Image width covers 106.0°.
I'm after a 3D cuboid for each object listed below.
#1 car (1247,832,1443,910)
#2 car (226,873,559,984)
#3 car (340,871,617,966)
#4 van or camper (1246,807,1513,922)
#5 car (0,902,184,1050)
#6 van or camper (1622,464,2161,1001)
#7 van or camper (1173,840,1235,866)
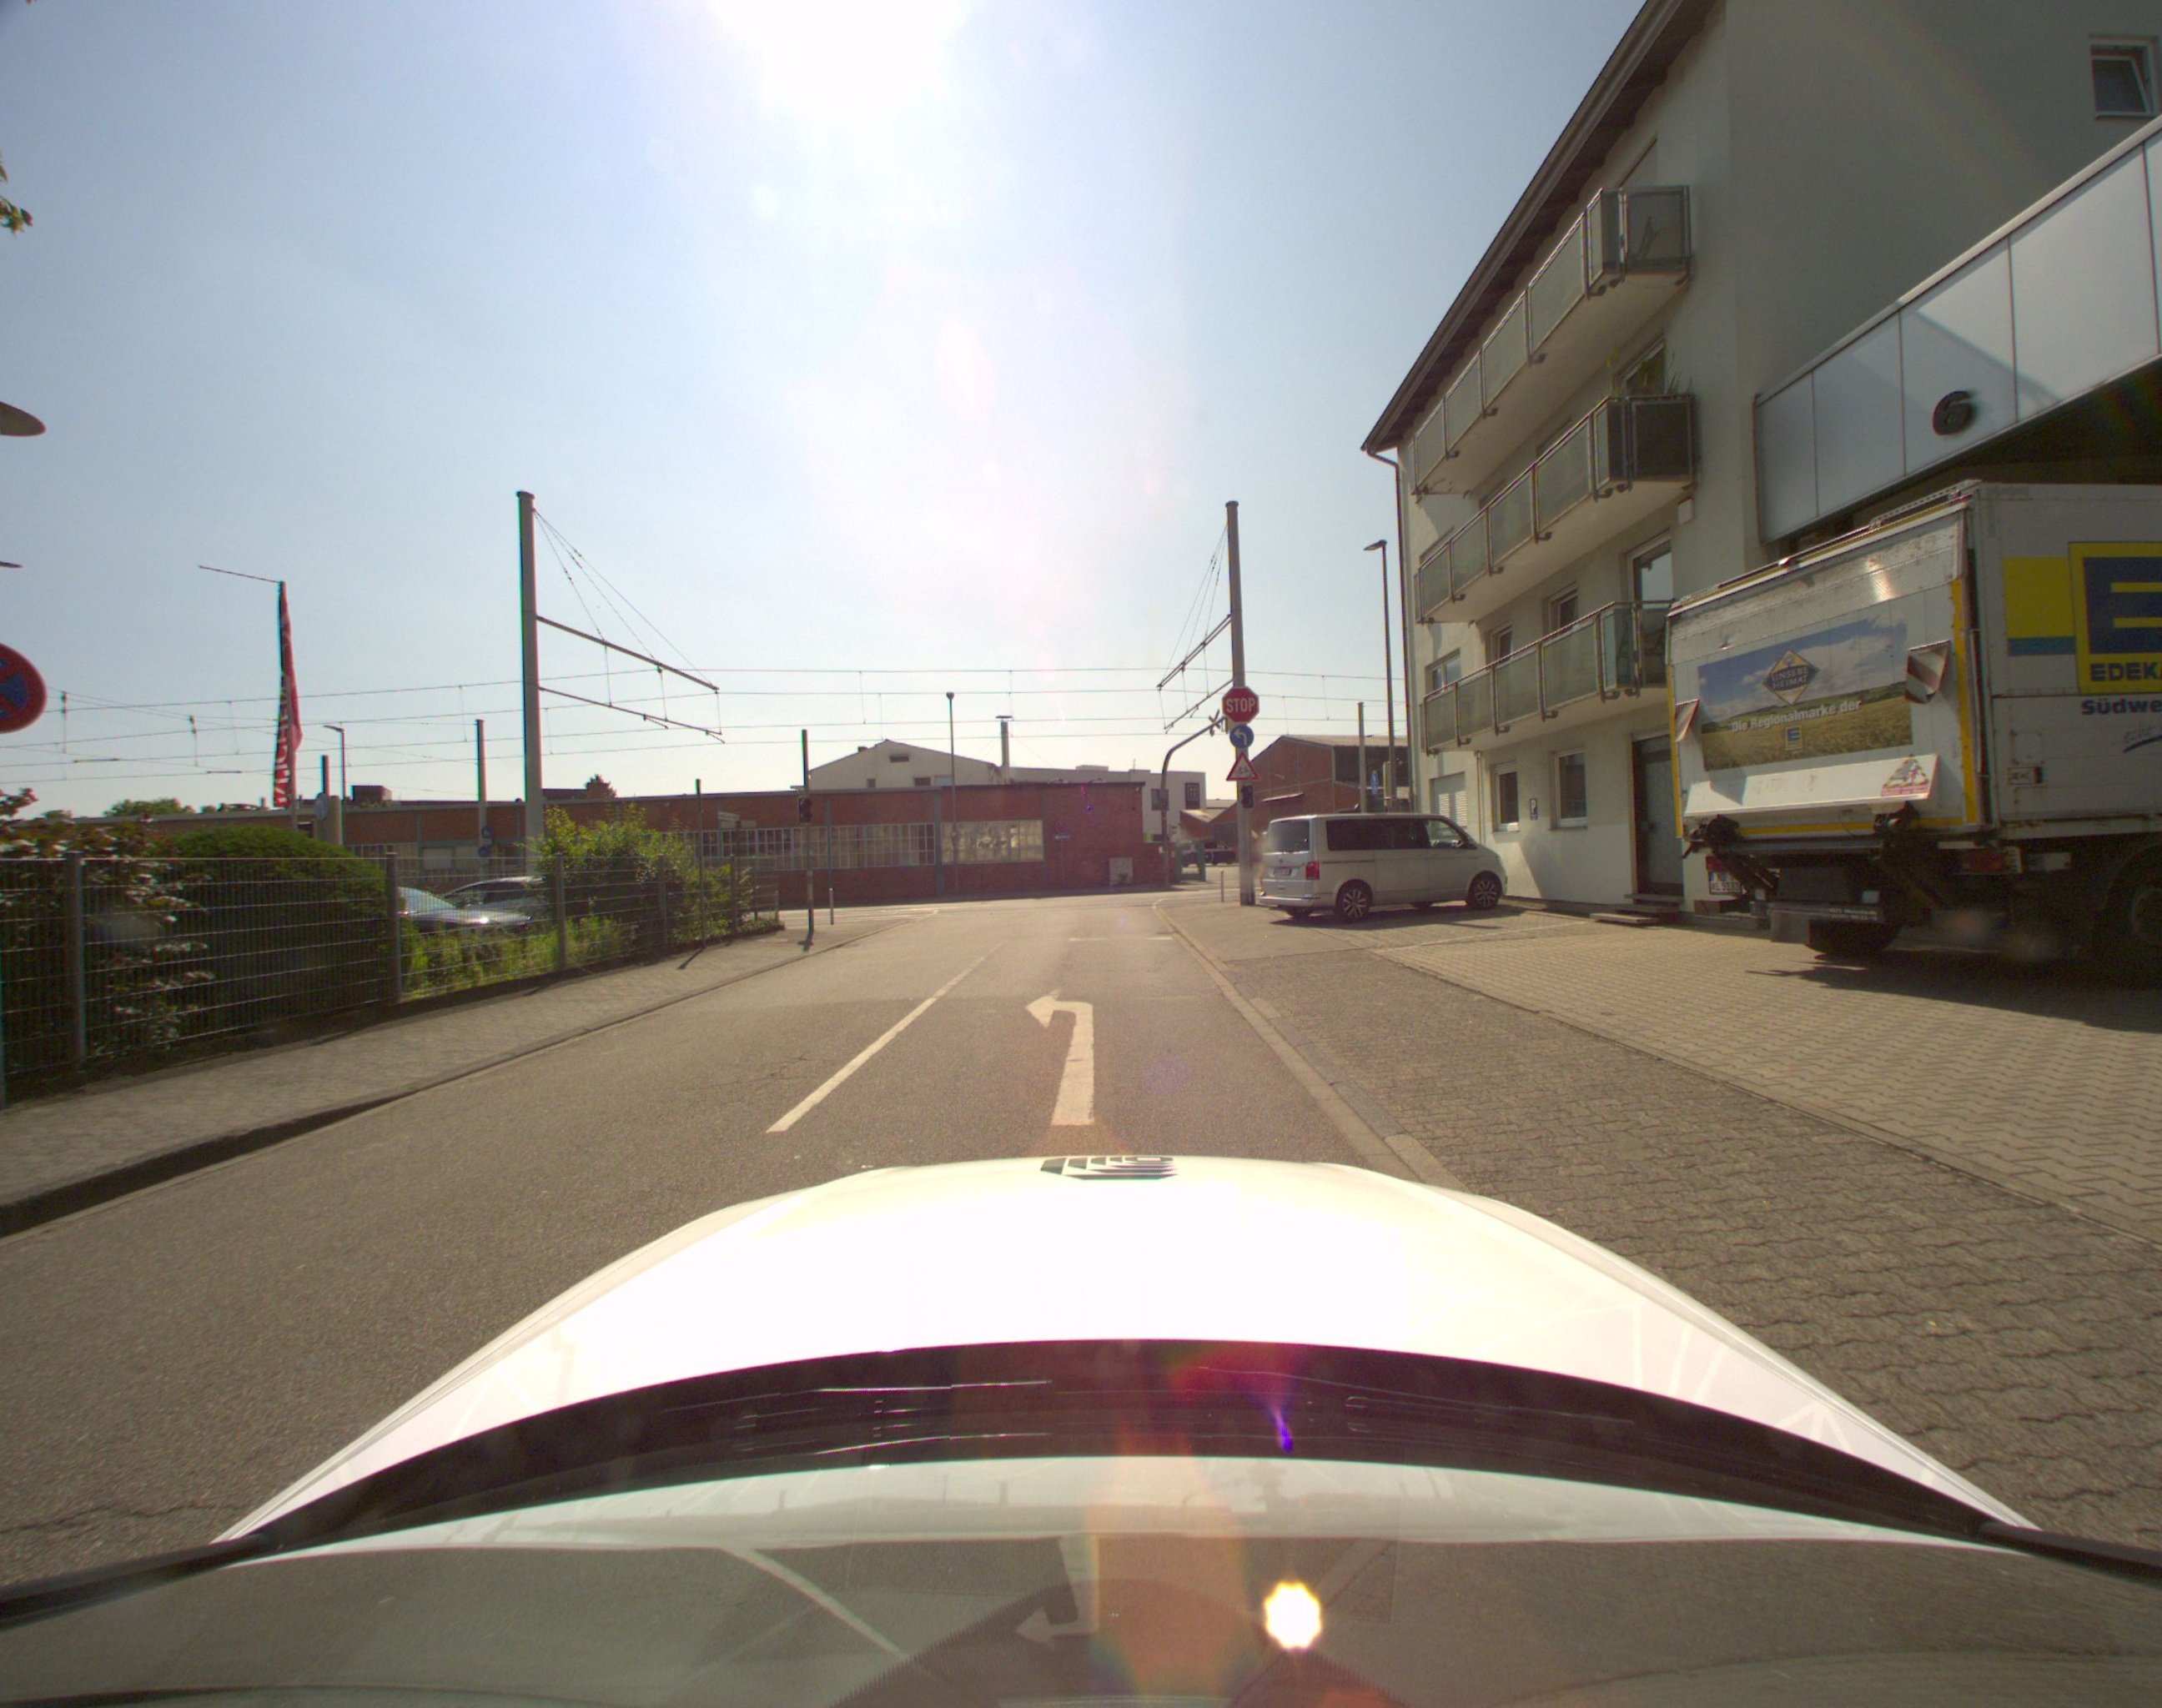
[{"bbox_3d":[5.989,0.346,18.502,3.979,1.521,1.865,-2,-1,-24],"label":"car"},{"bbox_3d":[-11.236,1.176,13.515,3.883,1.512,1.804,-2,0,-1],"label":"car"},{"bbox_3d":[-11.405,1.177,15.637,3.883,1.512,1.804,-2,0,-1],"label":"car"},{"bbox_3d":[5.704,0.149,15.656,4.555,1.908,1.987,-2,0,-19],"label":"van or camper"},{"bbox_3d":[-12.491,1.331,8.771,3.750,1.366,1.769,-3,0,3],"label":"car"},{"bbox_3d":[11.520,-1.088,7.593,11.584,3.692,2.775,-3,0,-6],"label":"van or camper"},{"bbox_3d":[9.259,-0.036,61.054,4.439,1.900,1.978,1,-1,-35],"label":"van or camper"}]
